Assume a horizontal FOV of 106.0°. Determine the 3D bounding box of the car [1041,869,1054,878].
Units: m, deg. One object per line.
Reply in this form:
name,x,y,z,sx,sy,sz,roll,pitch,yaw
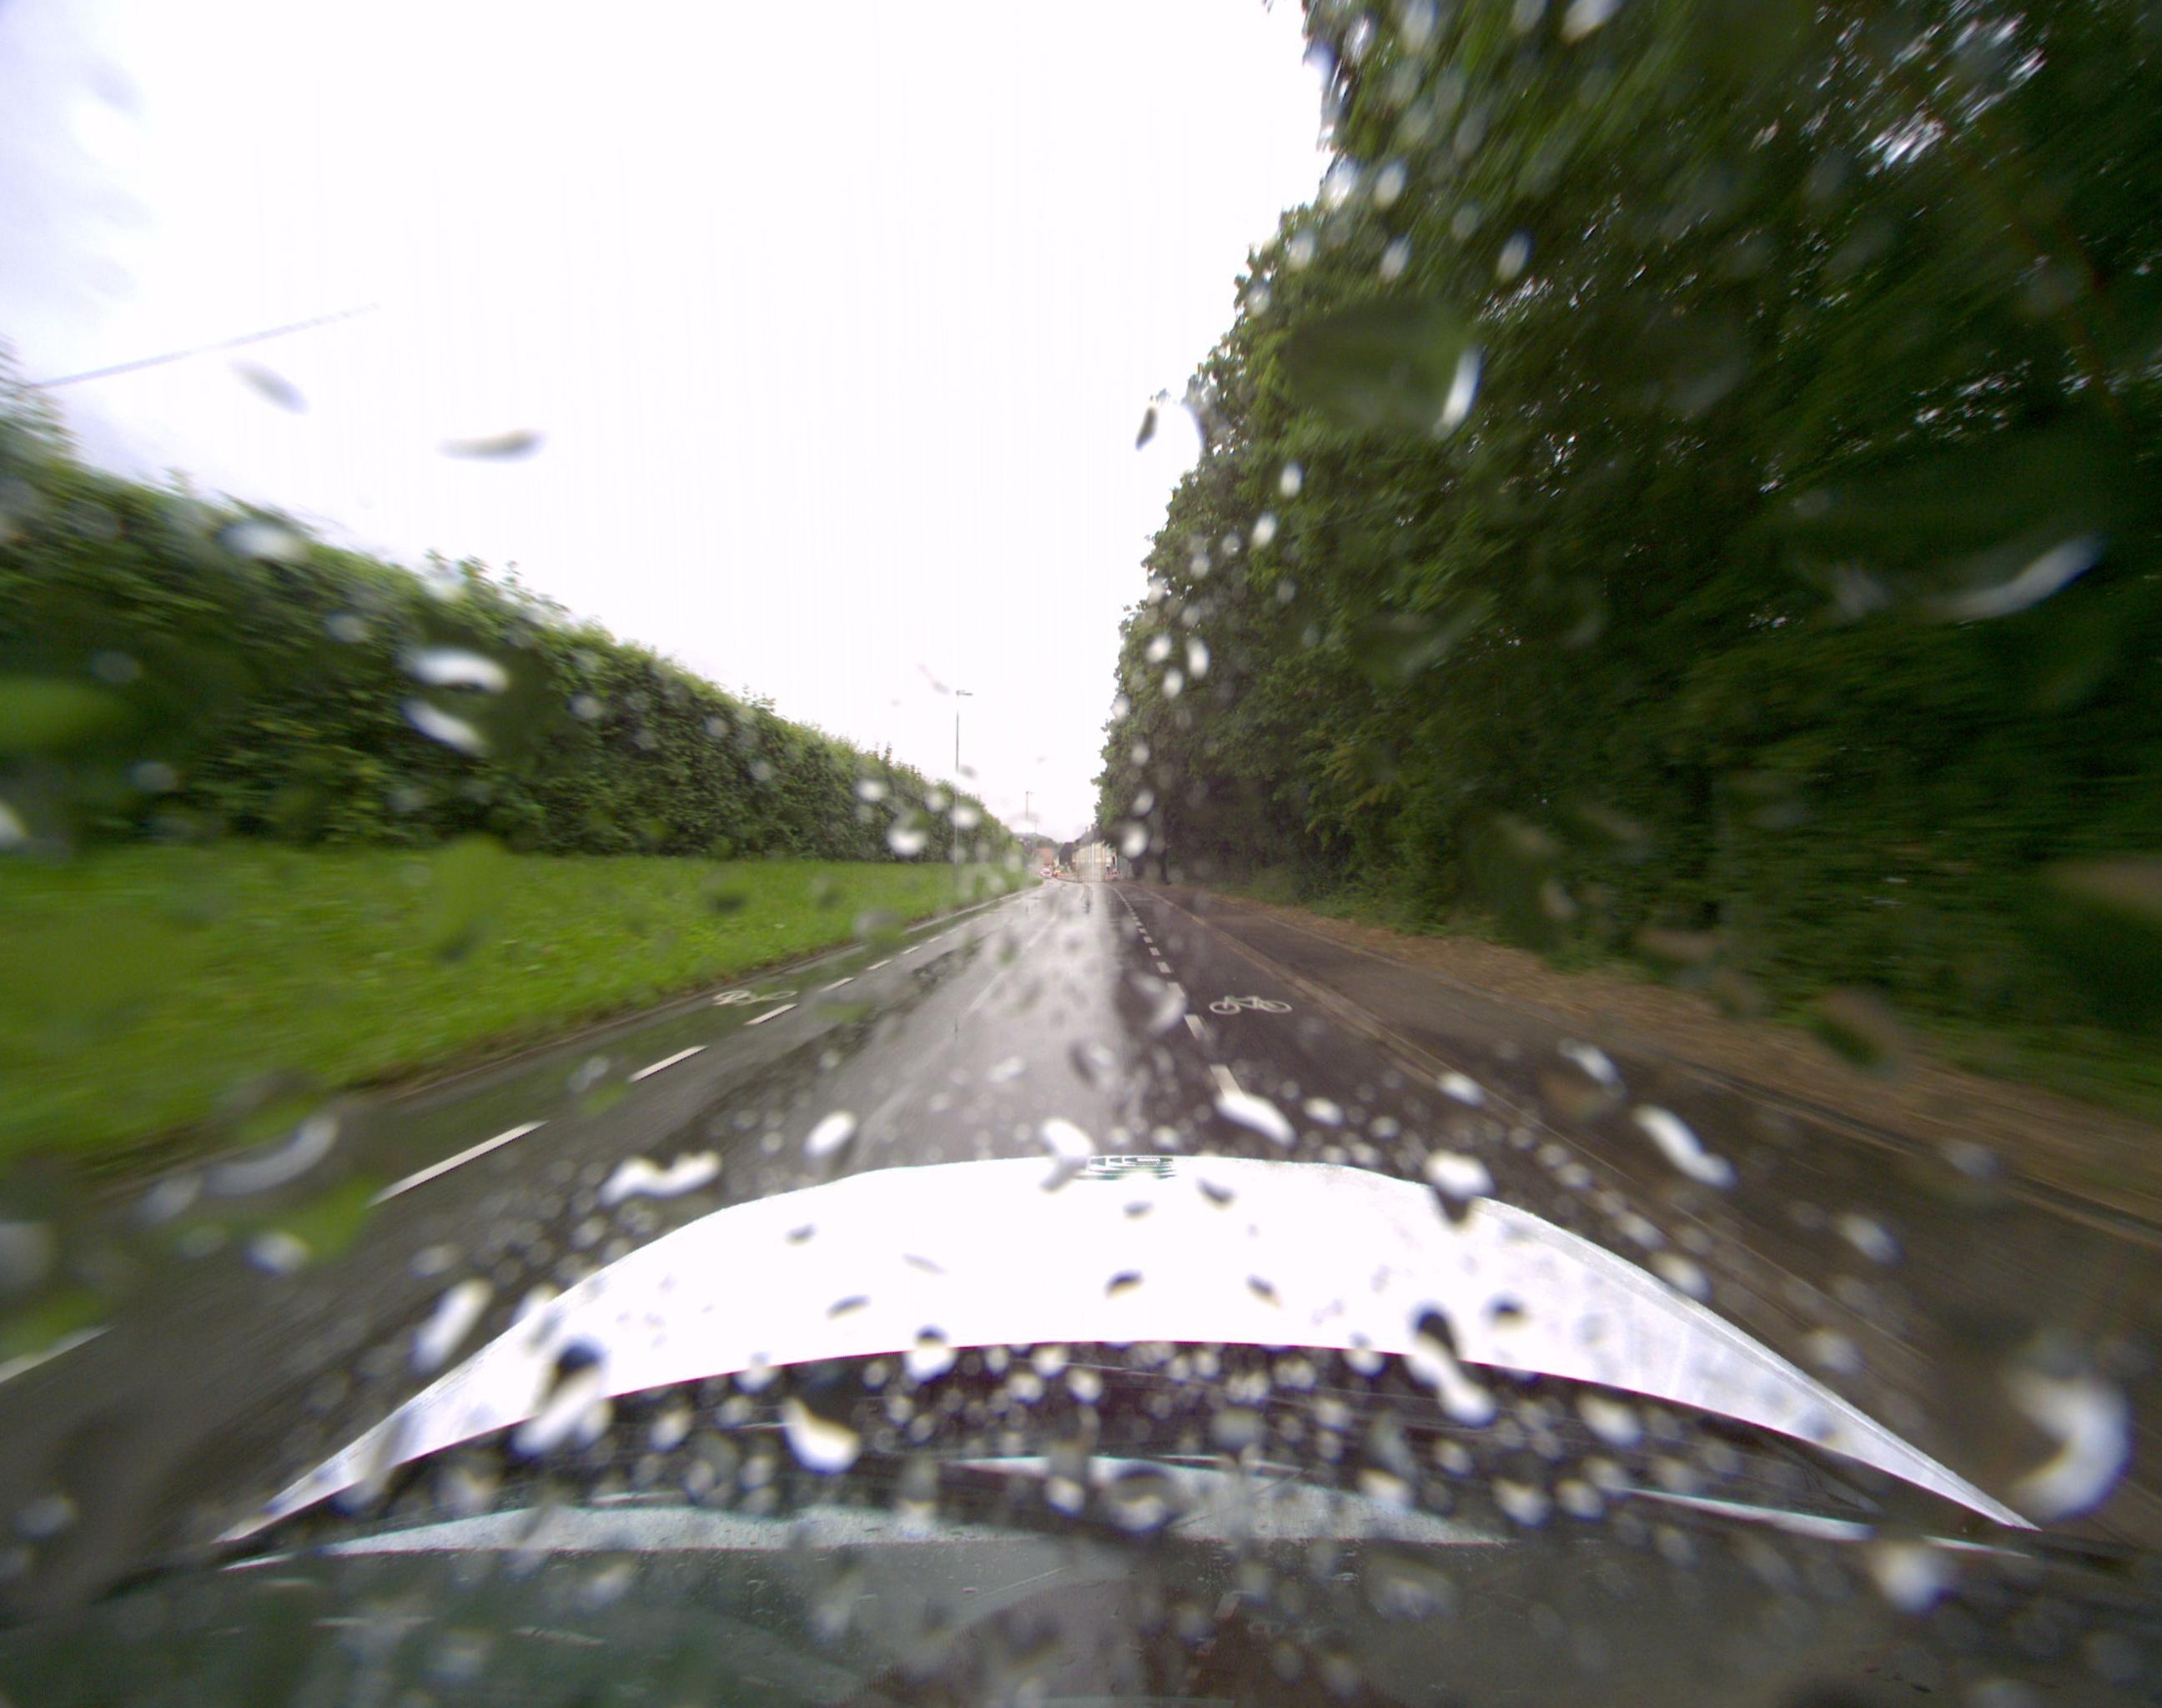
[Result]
car,-6.621,3.909,160.694,1.992,1.611,3.989,-1,0,-8
